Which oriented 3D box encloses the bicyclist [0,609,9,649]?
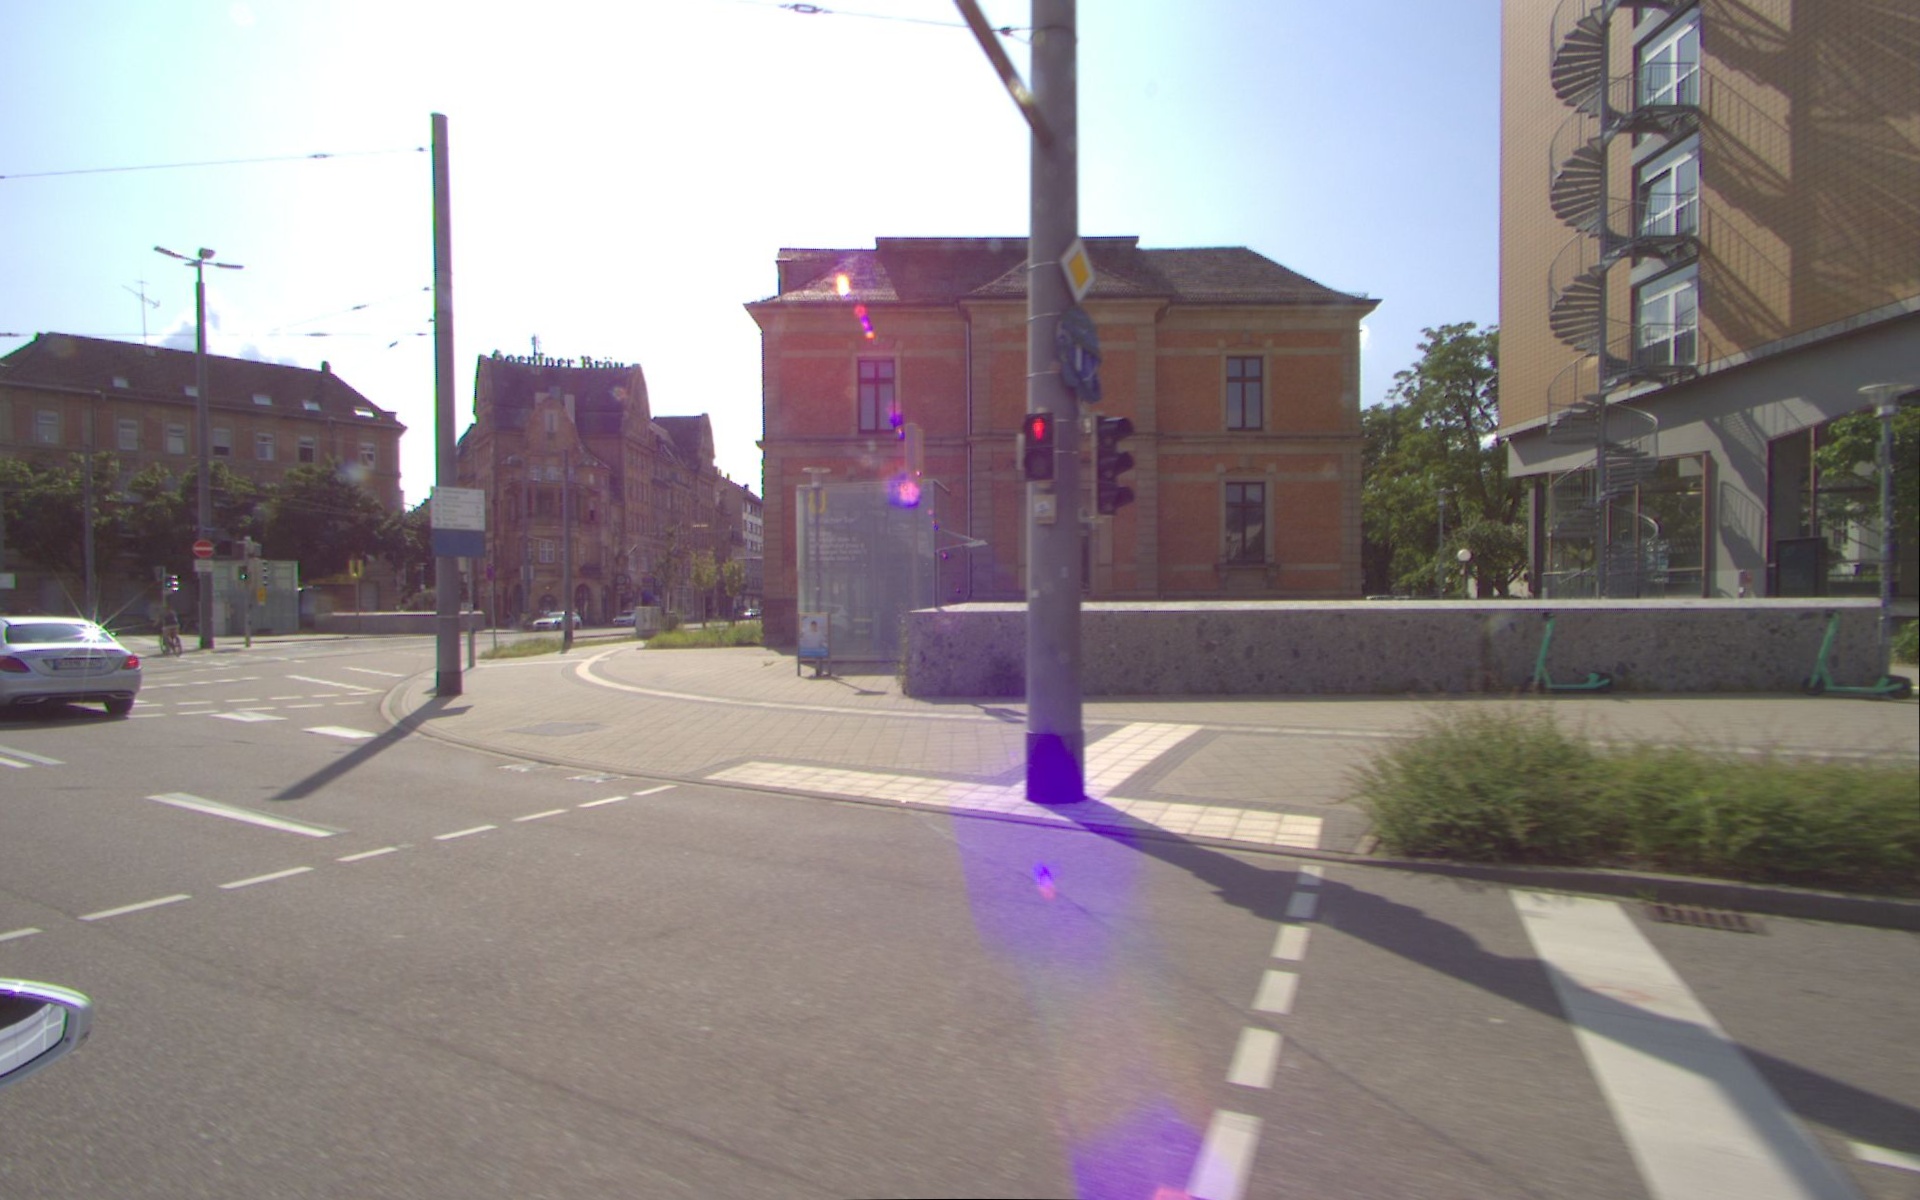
[{"bbox_3d":[-35.626,1.055,36.915,0.762,1.470,0.608,0,1,27],"label":"bicyclist"}]

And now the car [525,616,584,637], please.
[{"bbox_3d":[-29.948,1.929,74.091,2.007,1.449,4.538,-2,-1,7],"label":"car"}]

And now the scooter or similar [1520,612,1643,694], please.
[{"bbox_3d":[8.874,0.749,14.326,1.419,1.133,0.466,0,2,6],"label":"scooter or similar"}]

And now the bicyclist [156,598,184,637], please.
[{"bbox_3d":[-25.661,0.558,32.525,0.630,1.237,0.915,-3,4,-41],"label":"bicyclist"}]

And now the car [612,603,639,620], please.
[{"bbox_3d":[-28.934,0.987,86.653,1.955,1.503,3.994,0,0,-14],"label":"car"}]

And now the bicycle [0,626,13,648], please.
[{"bbox_3d":[-35.666,1.363,36.913,1.596,0.786,0.584,0,0,27],"label":"bicycle"}]

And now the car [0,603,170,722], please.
[{"bbox_3d":[-14.431,0.846,15.581,4.689,1.475,1.927,2,1,32],"label":"car"}]

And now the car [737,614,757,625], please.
[{"bbox_3d":[-28.077,2.616,131.908,1.857,1.438,4.001,0,-1,-2],"label":"car"}]

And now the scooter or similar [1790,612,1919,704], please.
[{"bbox_3d":[11.925,0.737,13.307,0.458,1.119,1.315,-1,1,-20],"label":"scooter or similar"}]

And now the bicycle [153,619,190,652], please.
[{"bbox_3d":[-25.527,1.125,32.409,0.840,0.983,1.944,-2,1,-40],"label":"bicycle"}]
